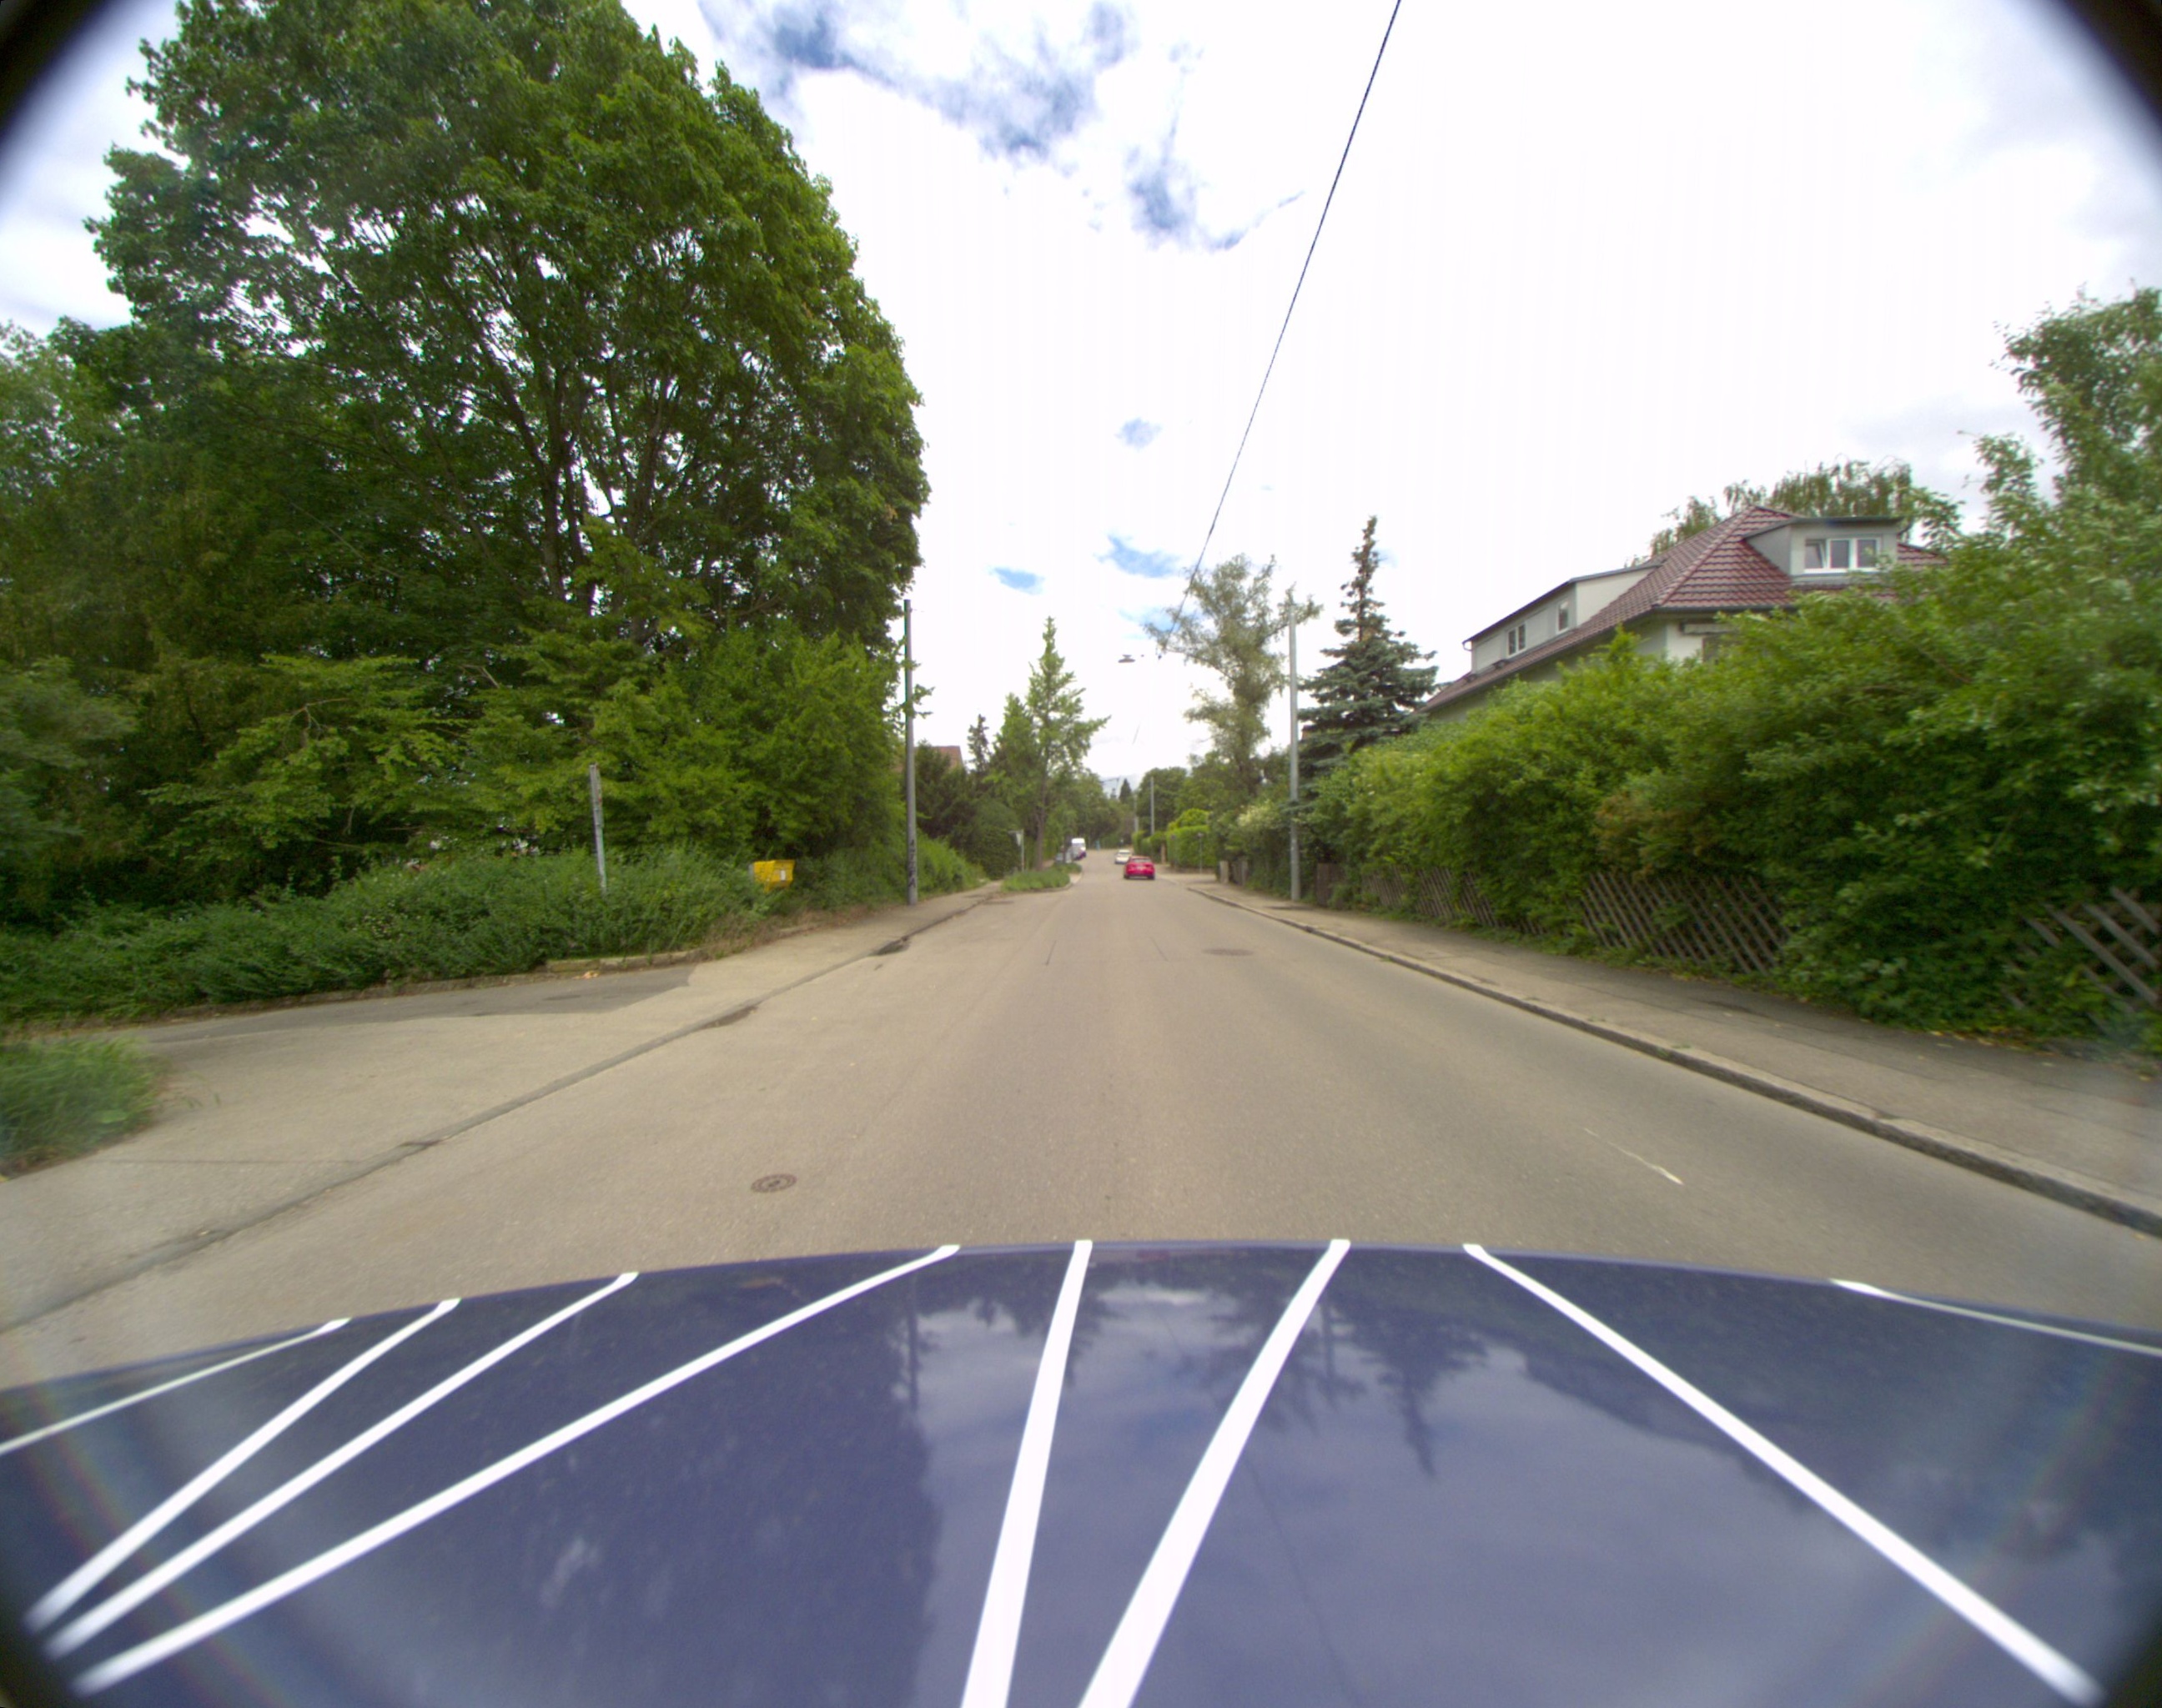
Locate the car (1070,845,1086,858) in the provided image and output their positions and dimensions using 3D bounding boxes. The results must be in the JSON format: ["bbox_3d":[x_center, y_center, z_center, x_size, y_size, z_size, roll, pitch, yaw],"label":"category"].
[{"bbox_3d":[-0.354,-0.353,99.196,1.893,1.572,4.764,1,2,2],"label":"car"}]

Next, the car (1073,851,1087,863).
[{"bbox_3d":[-0.090,0.402,93.912,1.683,1.399,4.053,-2,0,0],"label":"car"}]

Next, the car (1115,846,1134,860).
[{"bbox_3d":[4.558,-0.117,79.488,1.810,1.423,4.300,0,1,1],"label":"car"}]

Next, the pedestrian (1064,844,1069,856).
[{"bbox_3d":[-1.914,-0.567,102.776,0.671,1.689,0.917,0,2,-1],"label":"pedestrian"}]

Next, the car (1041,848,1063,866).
[{"bbox_3d":[-2.455,0.261,65.896,1.627,1.464,3.739,-1,1,1],"label":"car"}]

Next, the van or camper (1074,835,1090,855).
[{"bbox_3d":[0.082,-1.340,107.764,2.046,2.605,7.036,-2,2,-1],"label":"van or camper"}]

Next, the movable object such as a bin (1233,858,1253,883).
[{"bbox_3d":[7.632,0.785,35.787,0.729,1.119,0.722,-4,1,-2],"label":"movable object such as a bin"}]

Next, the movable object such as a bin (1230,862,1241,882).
[{"bbox_3d":[7.415,0.853,36.426,0.379,0.946,0.512,-4,1,-2],"label":"movable object such as a bin"}]

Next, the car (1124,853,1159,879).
[{"bbox_3d":[3.731,0.724,47.324,1.810,1.423,4.118,2,1,0],"label":"car"}]
